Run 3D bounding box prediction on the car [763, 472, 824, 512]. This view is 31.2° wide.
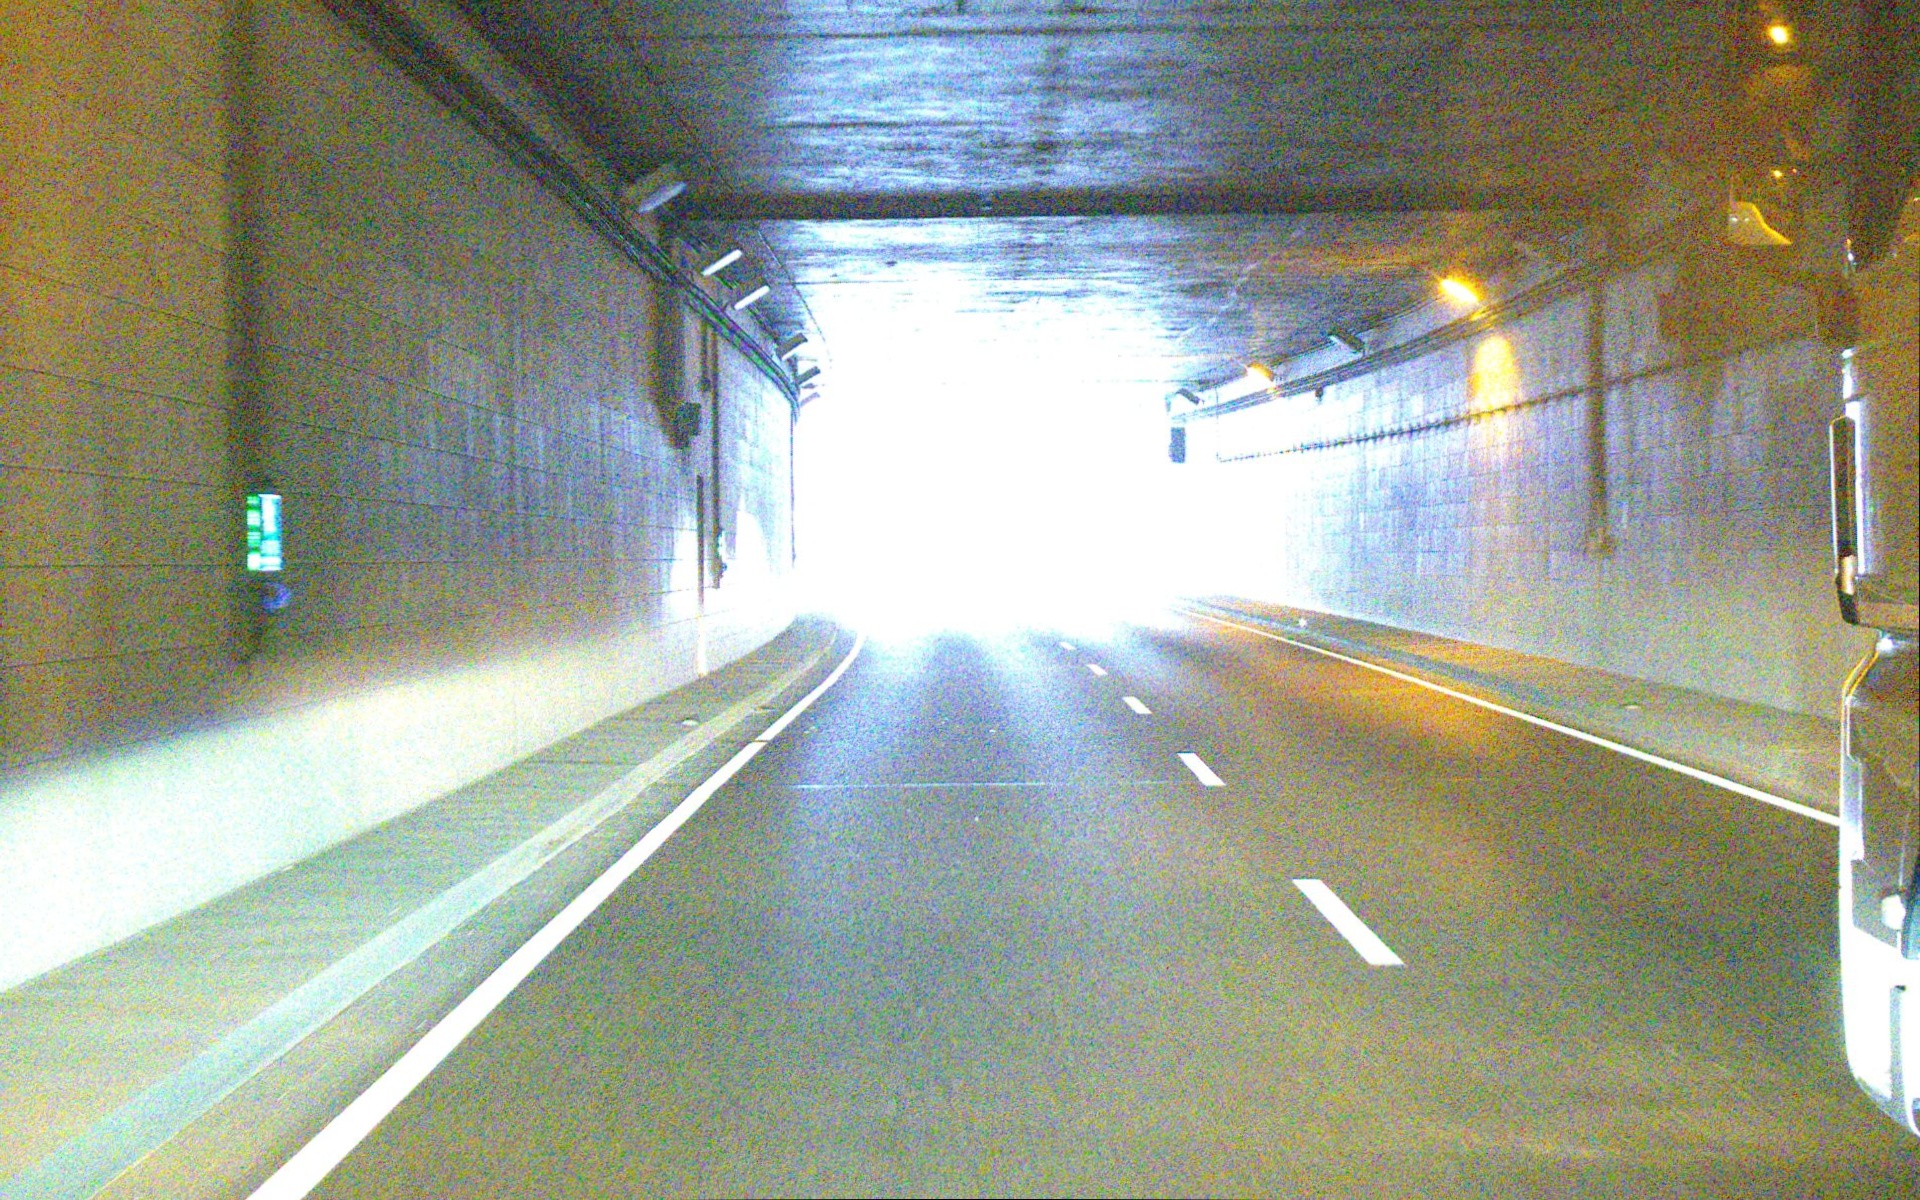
[{"bbox_3d":[-7.568,-4.892,155.885,1.869,1.726,4.001,-1,1,-16],"label":"car"}]

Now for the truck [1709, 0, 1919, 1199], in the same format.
[{"bbox_3d":[3.168,-0.484,2.950,2.889,3.900,9.909,0,1,0],"label":"truck"}]
